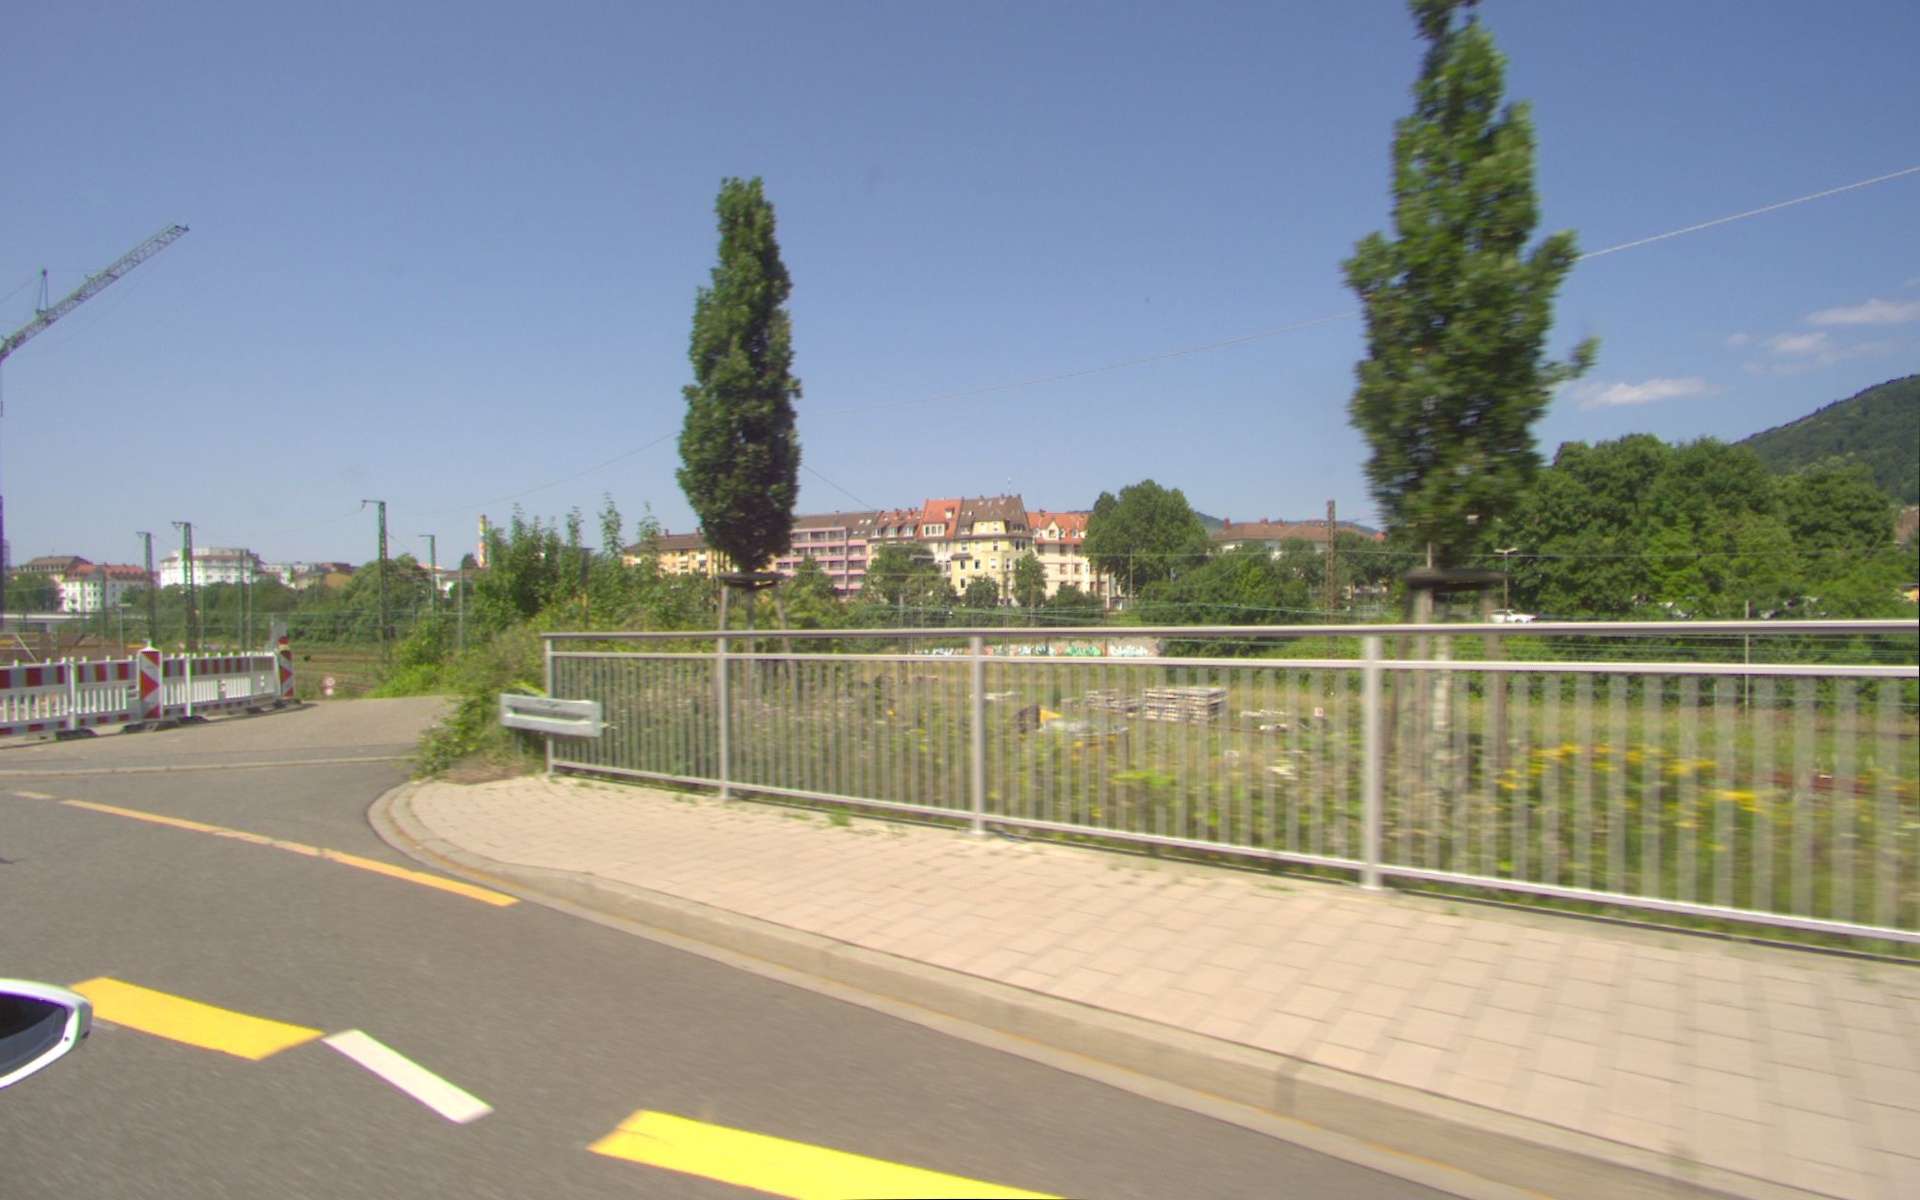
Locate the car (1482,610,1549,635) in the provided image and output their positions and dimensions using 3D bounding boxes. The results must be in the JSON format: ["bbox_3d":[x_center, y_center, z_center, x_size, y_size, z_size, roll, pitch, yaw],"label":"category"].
[{"bbox_3d":[49.588,2.012,89.421,4.939,2.140,1.982,-1,0,44],"label":"car"}]
